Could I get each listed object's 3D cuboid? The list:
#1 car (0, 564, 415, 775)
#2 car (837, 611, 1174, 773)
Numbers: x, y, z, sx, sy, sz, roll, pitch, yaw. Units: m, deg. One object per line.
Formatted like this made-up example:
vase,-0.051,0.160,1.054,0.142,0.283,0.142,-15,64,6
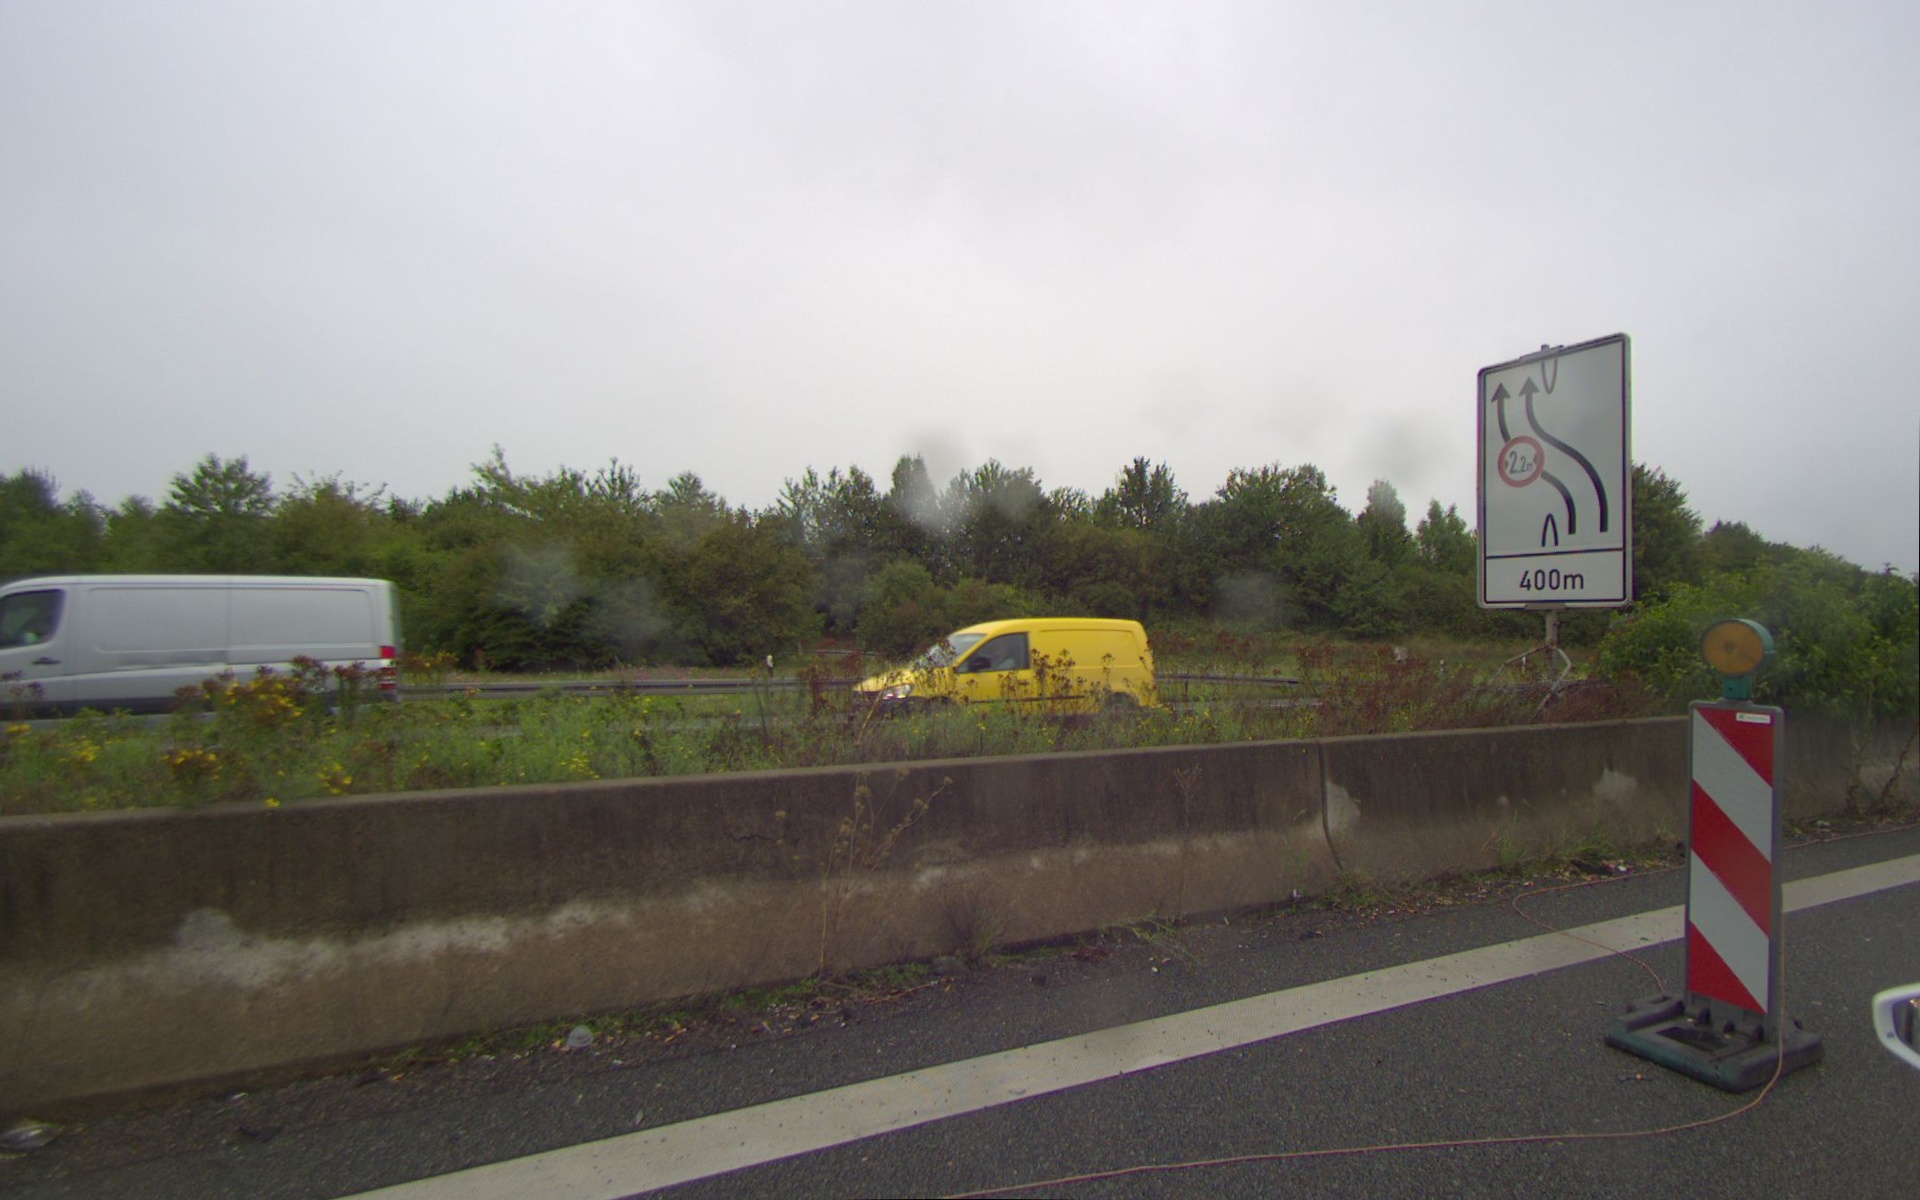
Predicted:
car,-10.611,0.856,13.353,5.808,2.473,2.232,1,-2,-28
car,0.721,1.238,14.984,4.720,2.074,1.985,1,-2,-29
